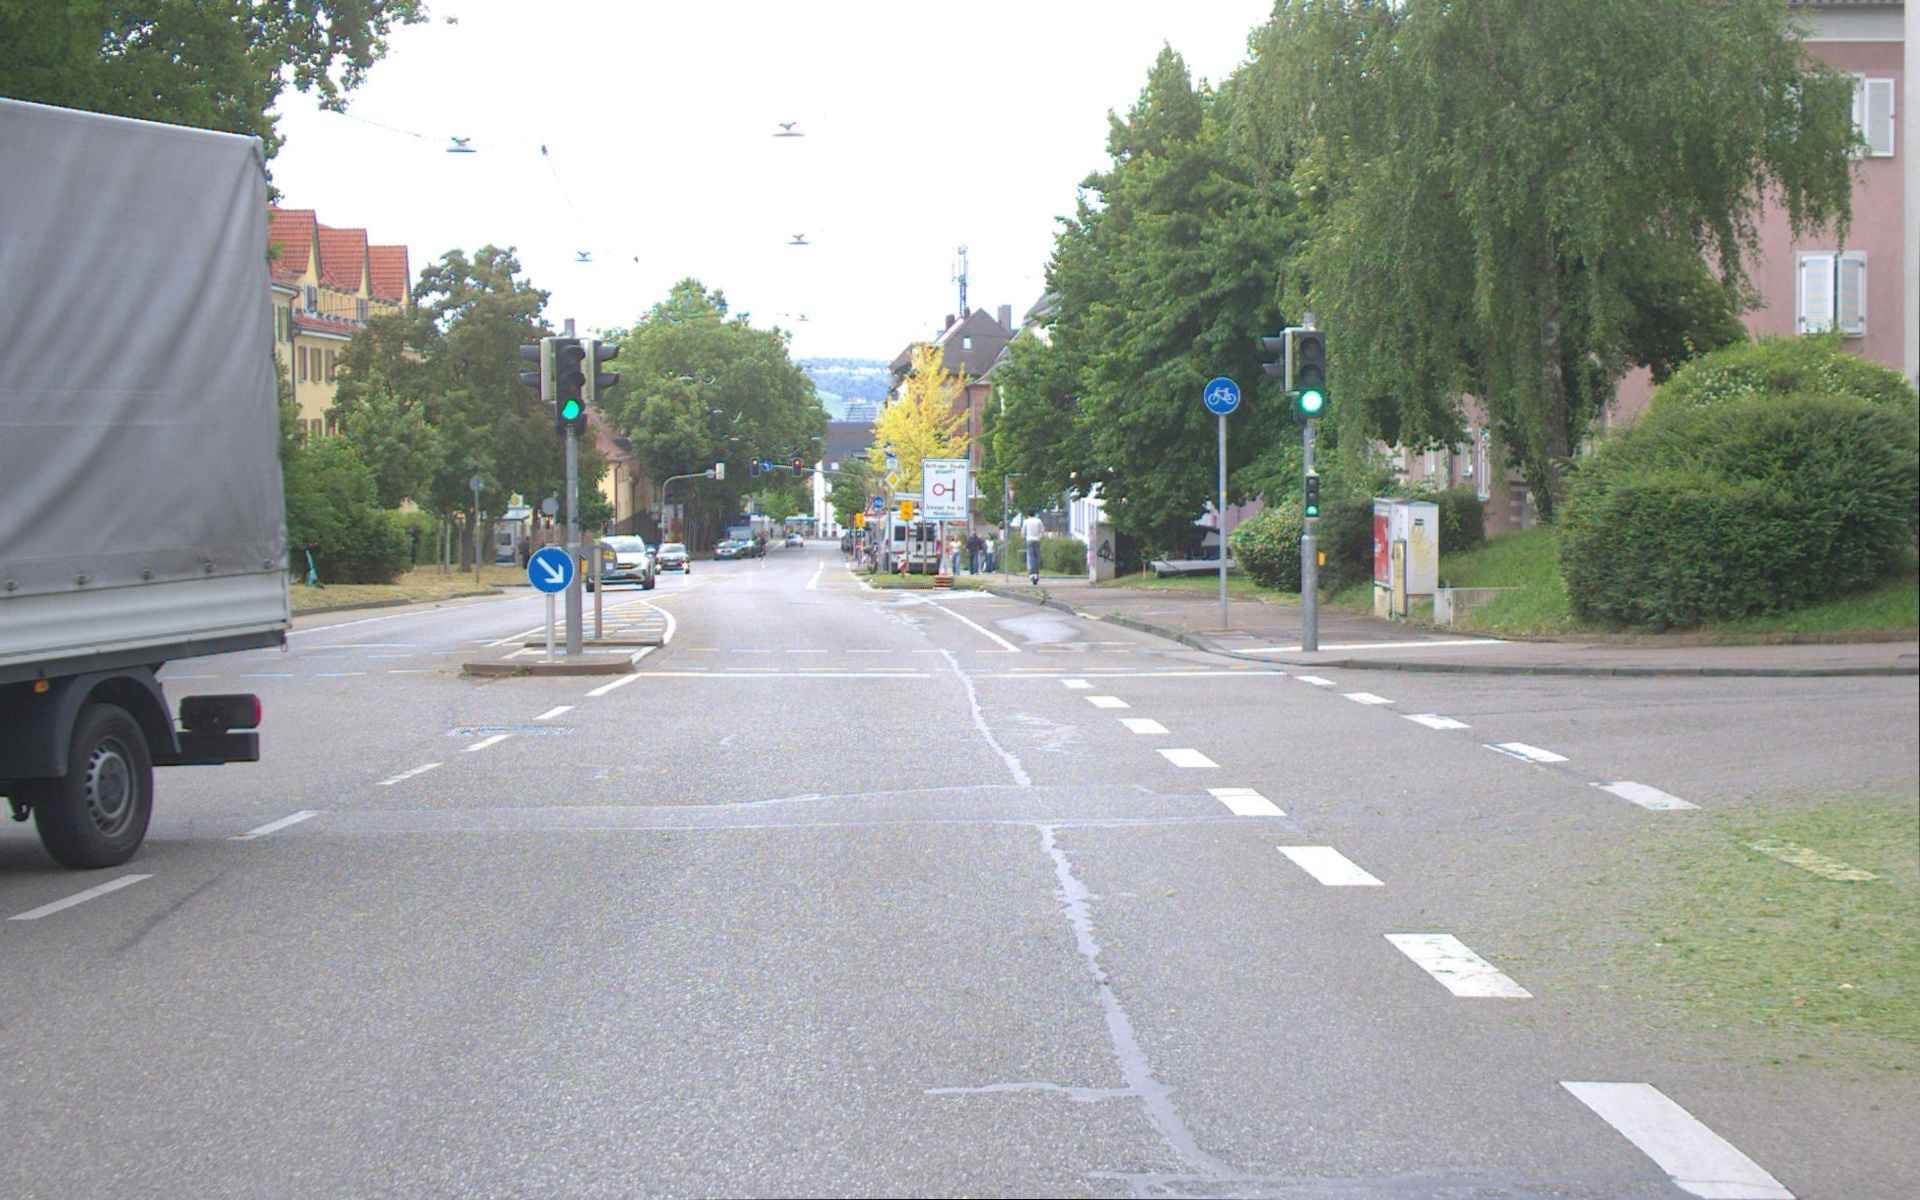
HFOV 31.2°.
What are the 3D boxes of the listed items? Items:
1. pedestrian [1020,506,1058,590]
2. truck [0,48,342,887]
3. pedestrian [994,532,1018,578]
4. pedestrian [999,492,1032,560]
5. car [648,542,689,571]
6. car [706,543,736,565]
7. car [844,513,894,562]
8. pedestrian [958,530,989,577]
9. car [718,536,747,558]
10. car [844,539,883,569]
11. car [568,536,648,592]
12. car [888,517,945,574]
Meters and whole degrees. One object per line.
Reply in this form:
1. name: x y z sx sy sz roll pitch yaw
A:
1. pedestrian: 2.079 -1.370 90.492 0.990 2.200 0.938 0 1 1
2. truck: -5.210 -0.508 13.159 2.534 3.295 7.245 0 1 17
3. pedestrian: 1.807 -1.784 135.818 0.921 1.804 1.102 0 1 -1
4. pedestrian: 1.794 -2.401 111.892 0.989 2.200 0.938 0 1 -4
5. car: -15.239 -2.298 180.014 1.993 1.500 4.001 0 1 -3
6. car: -16.348 -3.125 235.058 1.993 1.500 4.001 0 1 -3
7. car: -4.148 -2.819 156.104 1.993 2.165 4.001 0 1 -5
8. pedestrian: 0.541 -1.838 135.748 1.200 1.804 1.301 0 1 -1
9. car: -16.057 -3.751 242.844 1.993 1.500 4.001 0 1 -3
10. car: -5.437 -2.570 192.374 1.993 1.650 4.001 0 1 -4
11. car: -9.717 -1.001 95.181 1.993 1.500 4.001 0 1 -3
12. car: -1.570 -1.944 122.958 1.993 2.007 4.000 0 1 -1
